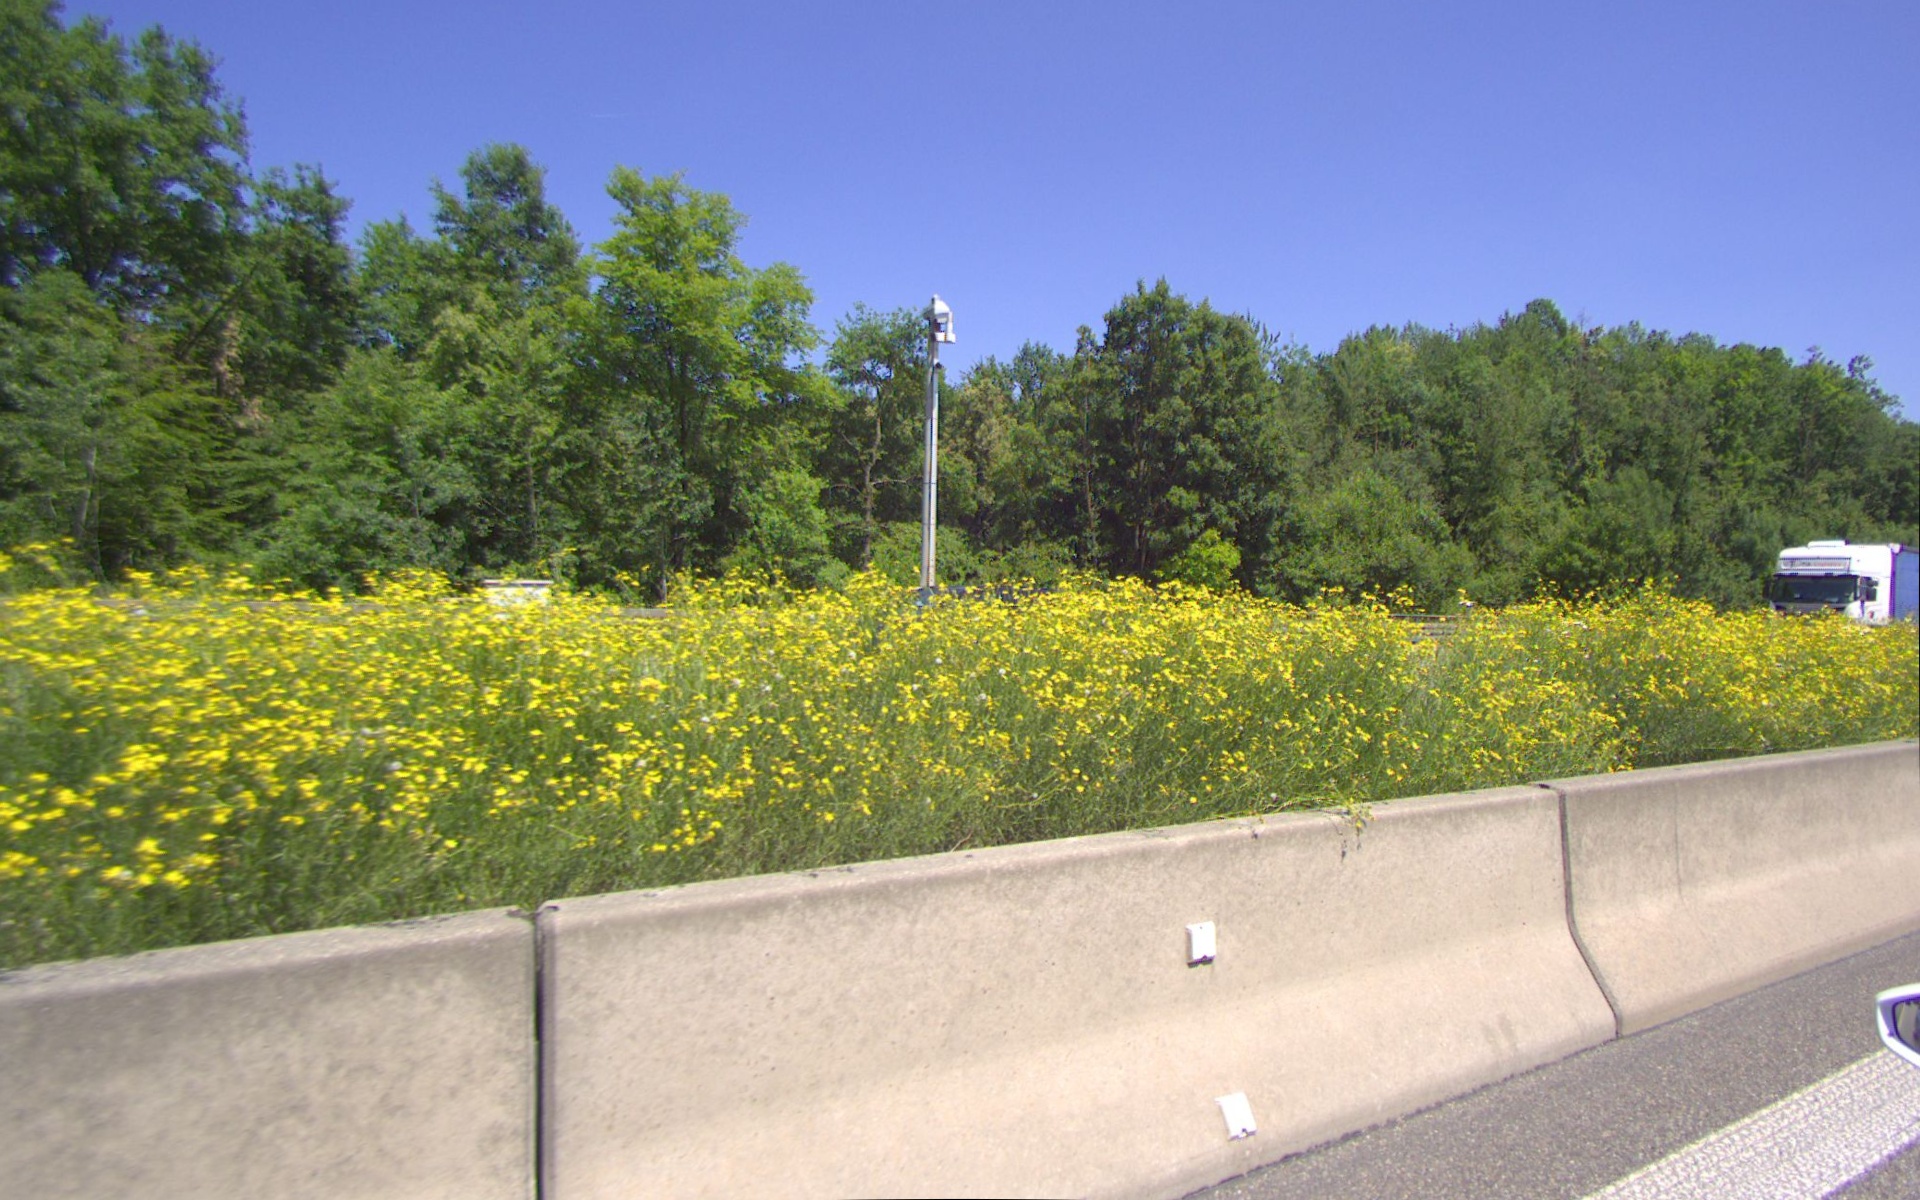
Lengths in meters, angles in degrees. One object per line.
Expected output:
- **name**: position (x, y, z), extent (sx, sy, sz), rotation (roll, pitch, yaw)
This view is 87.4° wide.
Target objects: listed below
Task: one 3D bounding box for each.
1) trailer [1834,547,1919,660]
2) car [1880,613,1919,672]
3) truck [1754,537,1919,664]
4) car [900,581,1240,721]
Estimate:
- **trailer**: position (36.866, 0.203, 37.929), extent (10.052, 3.908, 2.767), rotation (1, 1, -31)
- **car**: position (28.233, 1.237, 28.406), extent (4.586, 1.582, 1.984), rotation (2, 0, -31)
- **truck**: position (30.537, 0.071, 34.136), extent (8.315, 3.908, 2.734), rotation (1, 1, -31)
- **car**: position (1.421, 0.579, 12.635), extent (3.954, 1.509, 1.796), rotation (1, 0, -31)
